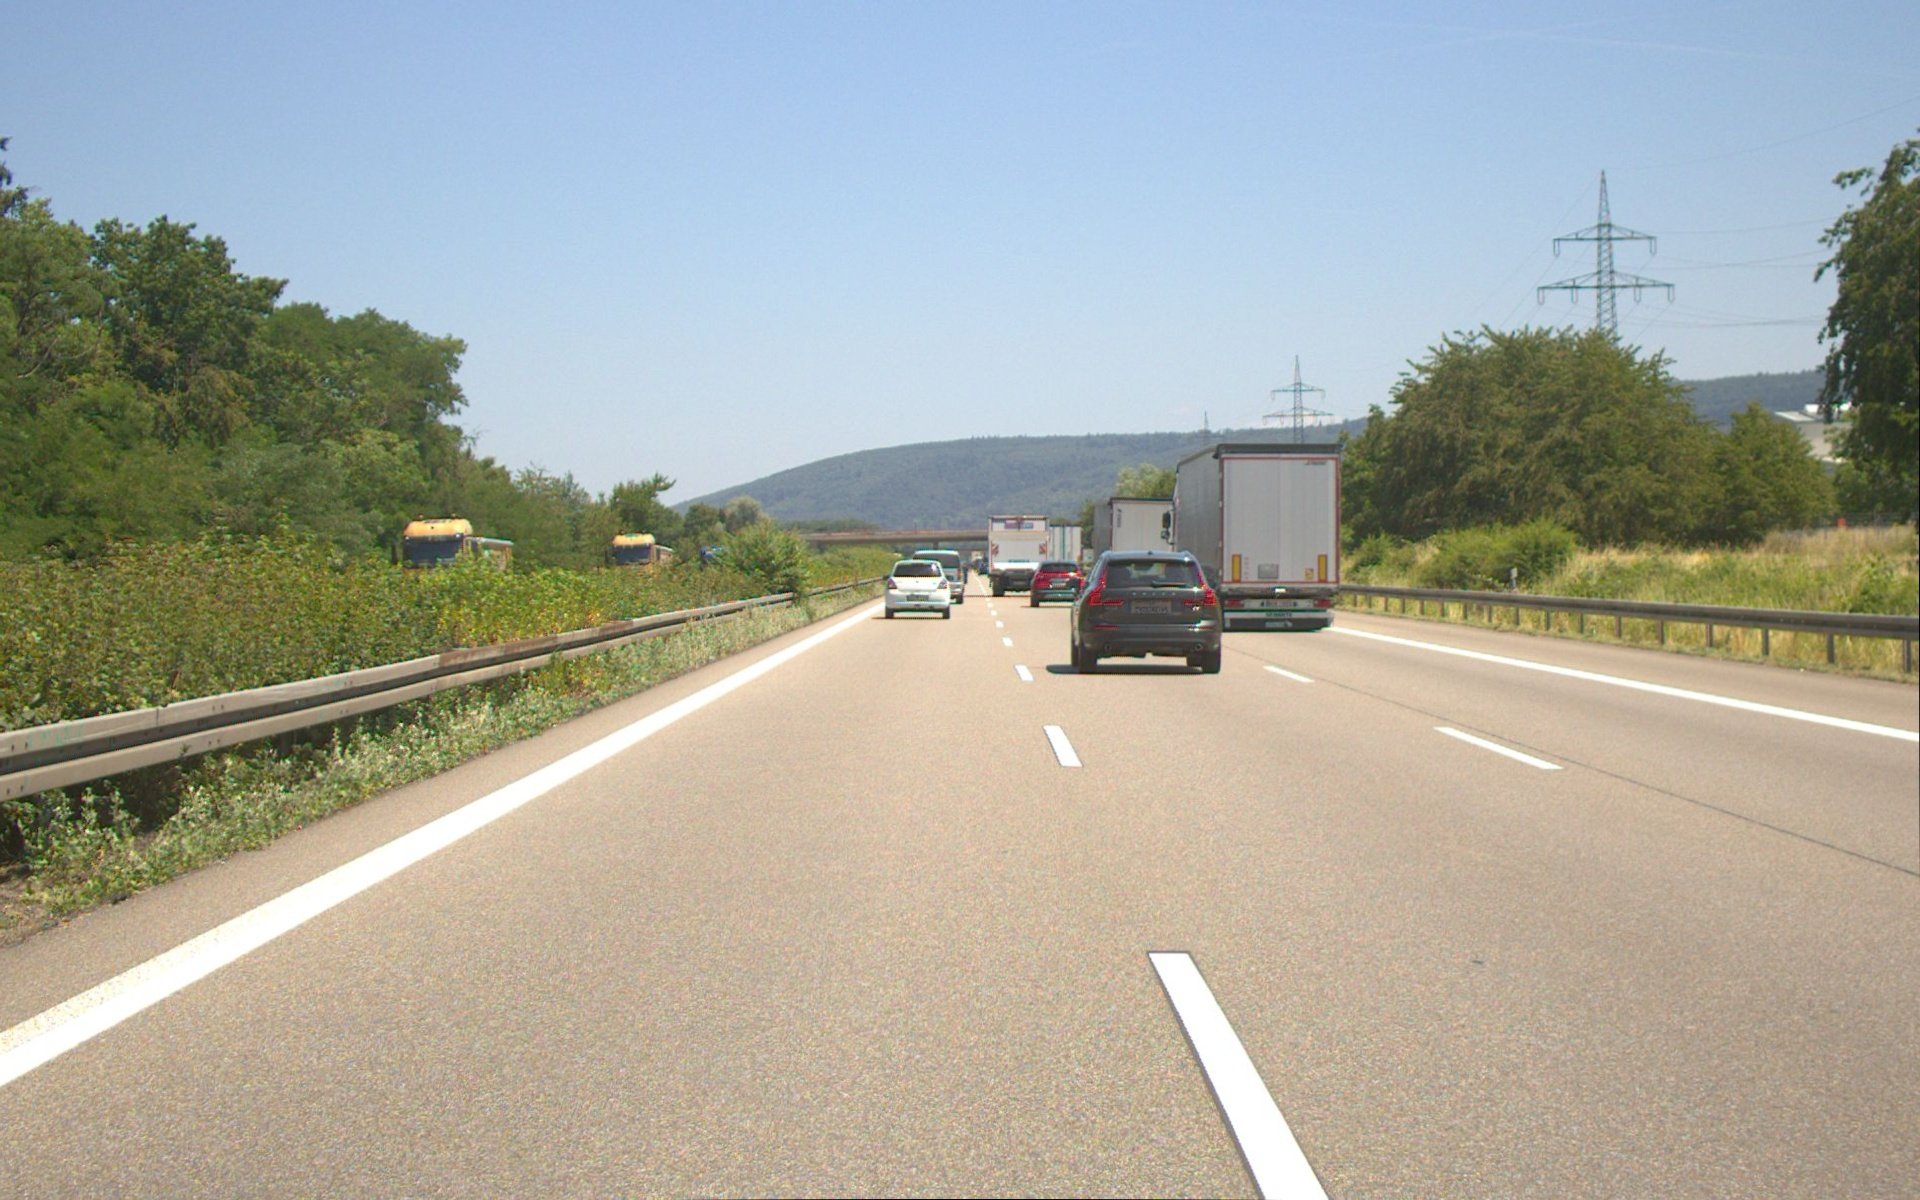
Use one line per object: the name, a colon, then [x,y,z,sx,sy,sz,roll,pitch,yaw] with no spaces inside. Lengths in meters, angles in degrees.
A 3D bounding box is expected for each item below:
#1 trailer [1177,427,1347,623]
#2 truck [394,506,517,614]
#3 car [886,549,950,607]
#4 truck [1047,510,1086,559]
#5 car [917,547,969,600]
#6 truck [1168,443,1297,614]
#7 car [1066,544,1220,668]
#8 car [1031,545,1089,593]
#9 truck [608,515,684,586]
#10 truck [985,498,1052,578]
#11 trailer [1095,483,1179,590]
trailer: [6.727,-1.642,78.474,2.736,4.092,13.122,0,1,0]
truck: [-18.126,-1.453,124.177,2.538,3.622,11.845,-3,1,0]
car: [-1.091,-0.592,89.760,1.607,1.462,4.000,-1,1,0]
truck: [7.095,-4.355,230.148,2.221,3.198,10.385,-1,1,0]
car: [-0.605,-0.954,121.908,1.761,1.844,4.000,-1,1,0]
truck: [6.740,-1.755,85.847,2.736,4.105,6.125,0,1,0]
car: [2.449,0.048,46.887,1.873,1.618,4.004,0,1,0]
car: [3.286,-1.023,113.675,1.803,1.540,4.000,0,1,0]
truck: [-17.344,-2.779,190.728,2.899,3.693,11.899,-3,1,0]
truck: [2.509,-2.637,149.339,2.782,3.361,8.127,0,0,0]
trailer: [7.191,-2.558,141.329,2.789,4.149,13.574,-1,1,1]
